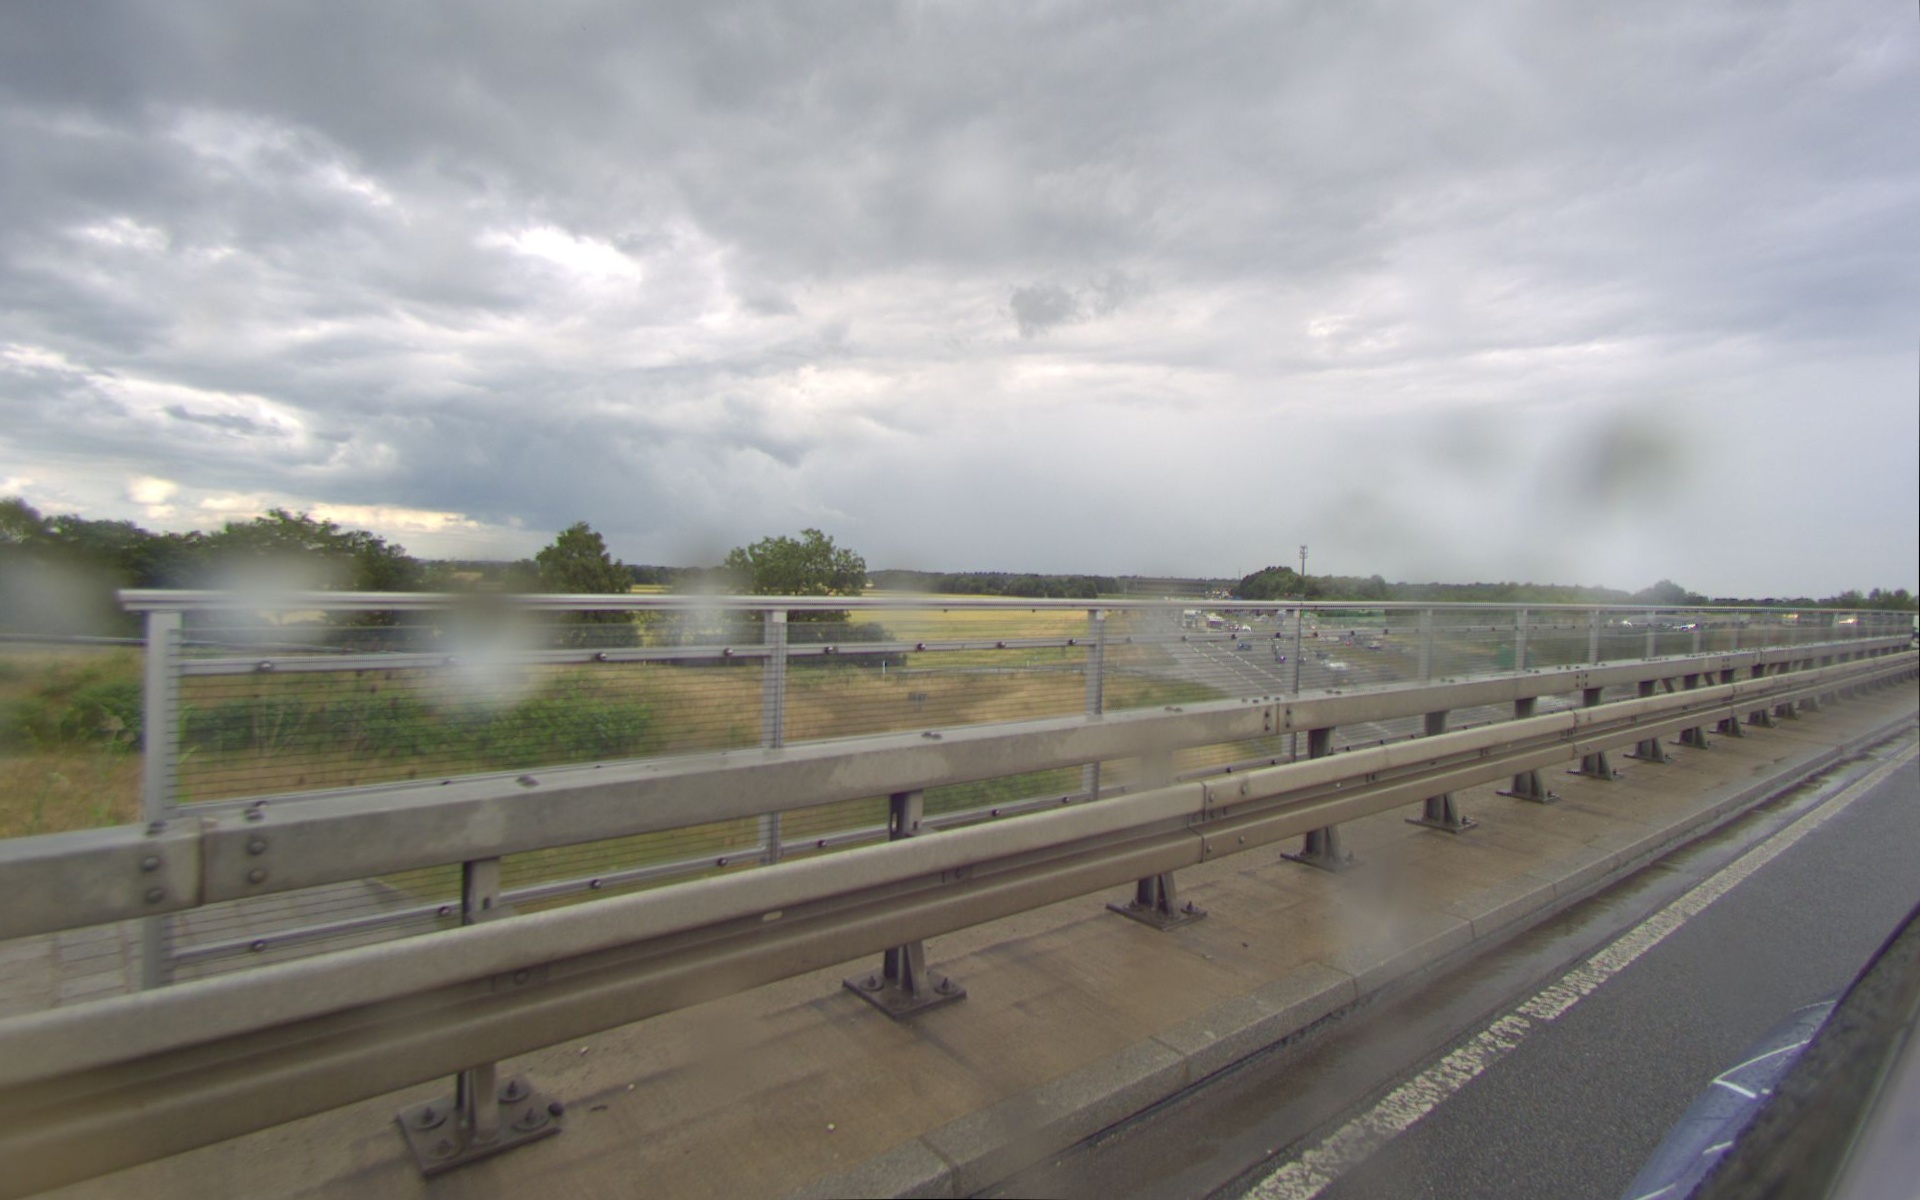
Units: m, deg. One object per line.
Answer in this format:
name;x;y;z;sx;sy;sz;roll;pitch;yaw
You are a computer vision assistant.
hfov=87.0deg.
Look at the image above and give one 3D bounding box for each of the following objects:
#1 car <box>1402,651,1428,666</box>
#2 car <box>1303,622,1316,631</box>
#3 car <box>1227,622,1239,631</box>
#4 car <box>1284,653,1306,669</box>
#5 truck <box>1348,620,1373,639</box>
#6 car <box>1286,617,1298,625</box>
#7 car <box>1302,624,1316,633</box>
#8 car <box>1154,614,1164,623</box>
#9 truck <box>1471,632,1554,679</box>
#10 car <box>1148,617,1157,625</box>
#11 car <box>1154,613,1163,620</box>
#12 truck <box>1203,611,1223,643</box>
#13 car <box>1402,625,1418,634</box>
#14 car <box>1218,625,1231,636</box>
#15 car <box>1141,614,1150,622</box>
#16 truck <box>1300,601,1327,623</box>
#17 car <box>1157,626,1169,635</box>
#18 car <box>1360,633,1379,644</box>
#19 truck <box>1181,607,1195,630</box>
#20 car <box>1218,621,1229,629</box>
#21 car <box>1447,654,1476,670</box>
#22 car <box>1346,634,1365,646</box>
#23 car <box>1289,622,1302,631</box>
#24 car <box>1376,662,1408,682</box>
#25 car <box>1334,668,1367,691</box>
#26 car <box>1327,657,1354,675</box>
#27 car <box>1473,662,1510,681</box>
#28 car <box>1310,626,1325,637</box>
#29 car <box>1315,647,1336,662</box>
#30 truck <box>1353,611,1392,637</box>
car;58.576;7.533;130.335;1.826;1.690;4.712;0;0;9
car;74.709;5.635;216.613;1.826;1.690;4.712;0;0;9
car;55.978;5.341;207.631;1.826;1.690;4.712;0;0;9
car;41.350;7.551;125.123;1.826;1.690;4.712;0;0;9
truck;72.459;5.284;183.439;2.176;3.003;9.285;0;0;9
car;77.518;4.833;236.573;1.826;1.797;4.712;0;0;9
car;70.743;5.794;205.345;1.826;1.690;4.712;0;0;9
car;41.350;3.842;210.776;1.826;1.690;4.712;0;0;9
truck;64.905;6.347;119.531;3.545;4.594;15.587;0;0;9
car;42.245;4.588;222.349;1.826;1.690;4.712;0;0;9
car;49.217;4.120;250.608;1.784;1.453;4.715;4;1;7
truck;43.035;4.503;172.351;2.751;4.962;12.710;0;0;12
car;92.013;6.070;206.966;1.826;1.690;4.712;0;0;9
car;48.281;5.561;184.938;1.826;1.690;4.712;0;0;9
car;43.118;4.135;235.647;1.826;1.690;4.712;0;0;9
truck;88.373;2.909;253.095;3.241;5.230;15.594;0;0;8
car;36.850;5.577;184.134;1.784;1.454;4.714;0;0;7
car;66.335;6.241;164.094;1.826;1.690;4.712;0;0;9
truck;49.192;3.842;218.186;2.751;4.676;12.710;0;0;12
car;57.069;5.438;219.433;1.826;1.690;4.712;0;0;9
car;62.013;7.636;125.271;1.826;1.690;4.712;0;0;9
car;63.558;6.350;162.838;1.826;1.690;4.712;0;0;9
car;68.254;5.457;205.897;1.826;1.690;4.712;0;0;9
car;44.117;7.342;103.368;1.826;1.690;4.712;0;0;9
car;36.203;7.352;93.858;1.826;1.690;4.712;0;0;9
car;43.154;7.474;114.836;1.826;1.690;4.712;0;0;9
car;55.885;7.513;106.549;1.825;1.690;4.715;0;0;7
car;65.424;5.765;185.242;1.826;1.690;4.712;0;0;9
car;49.552;7.384;137.216;1.826;1.690;4.712;0;0;9
truck;80.103;4.635;196.749;3.545;4.594;15.587;0;0;9
